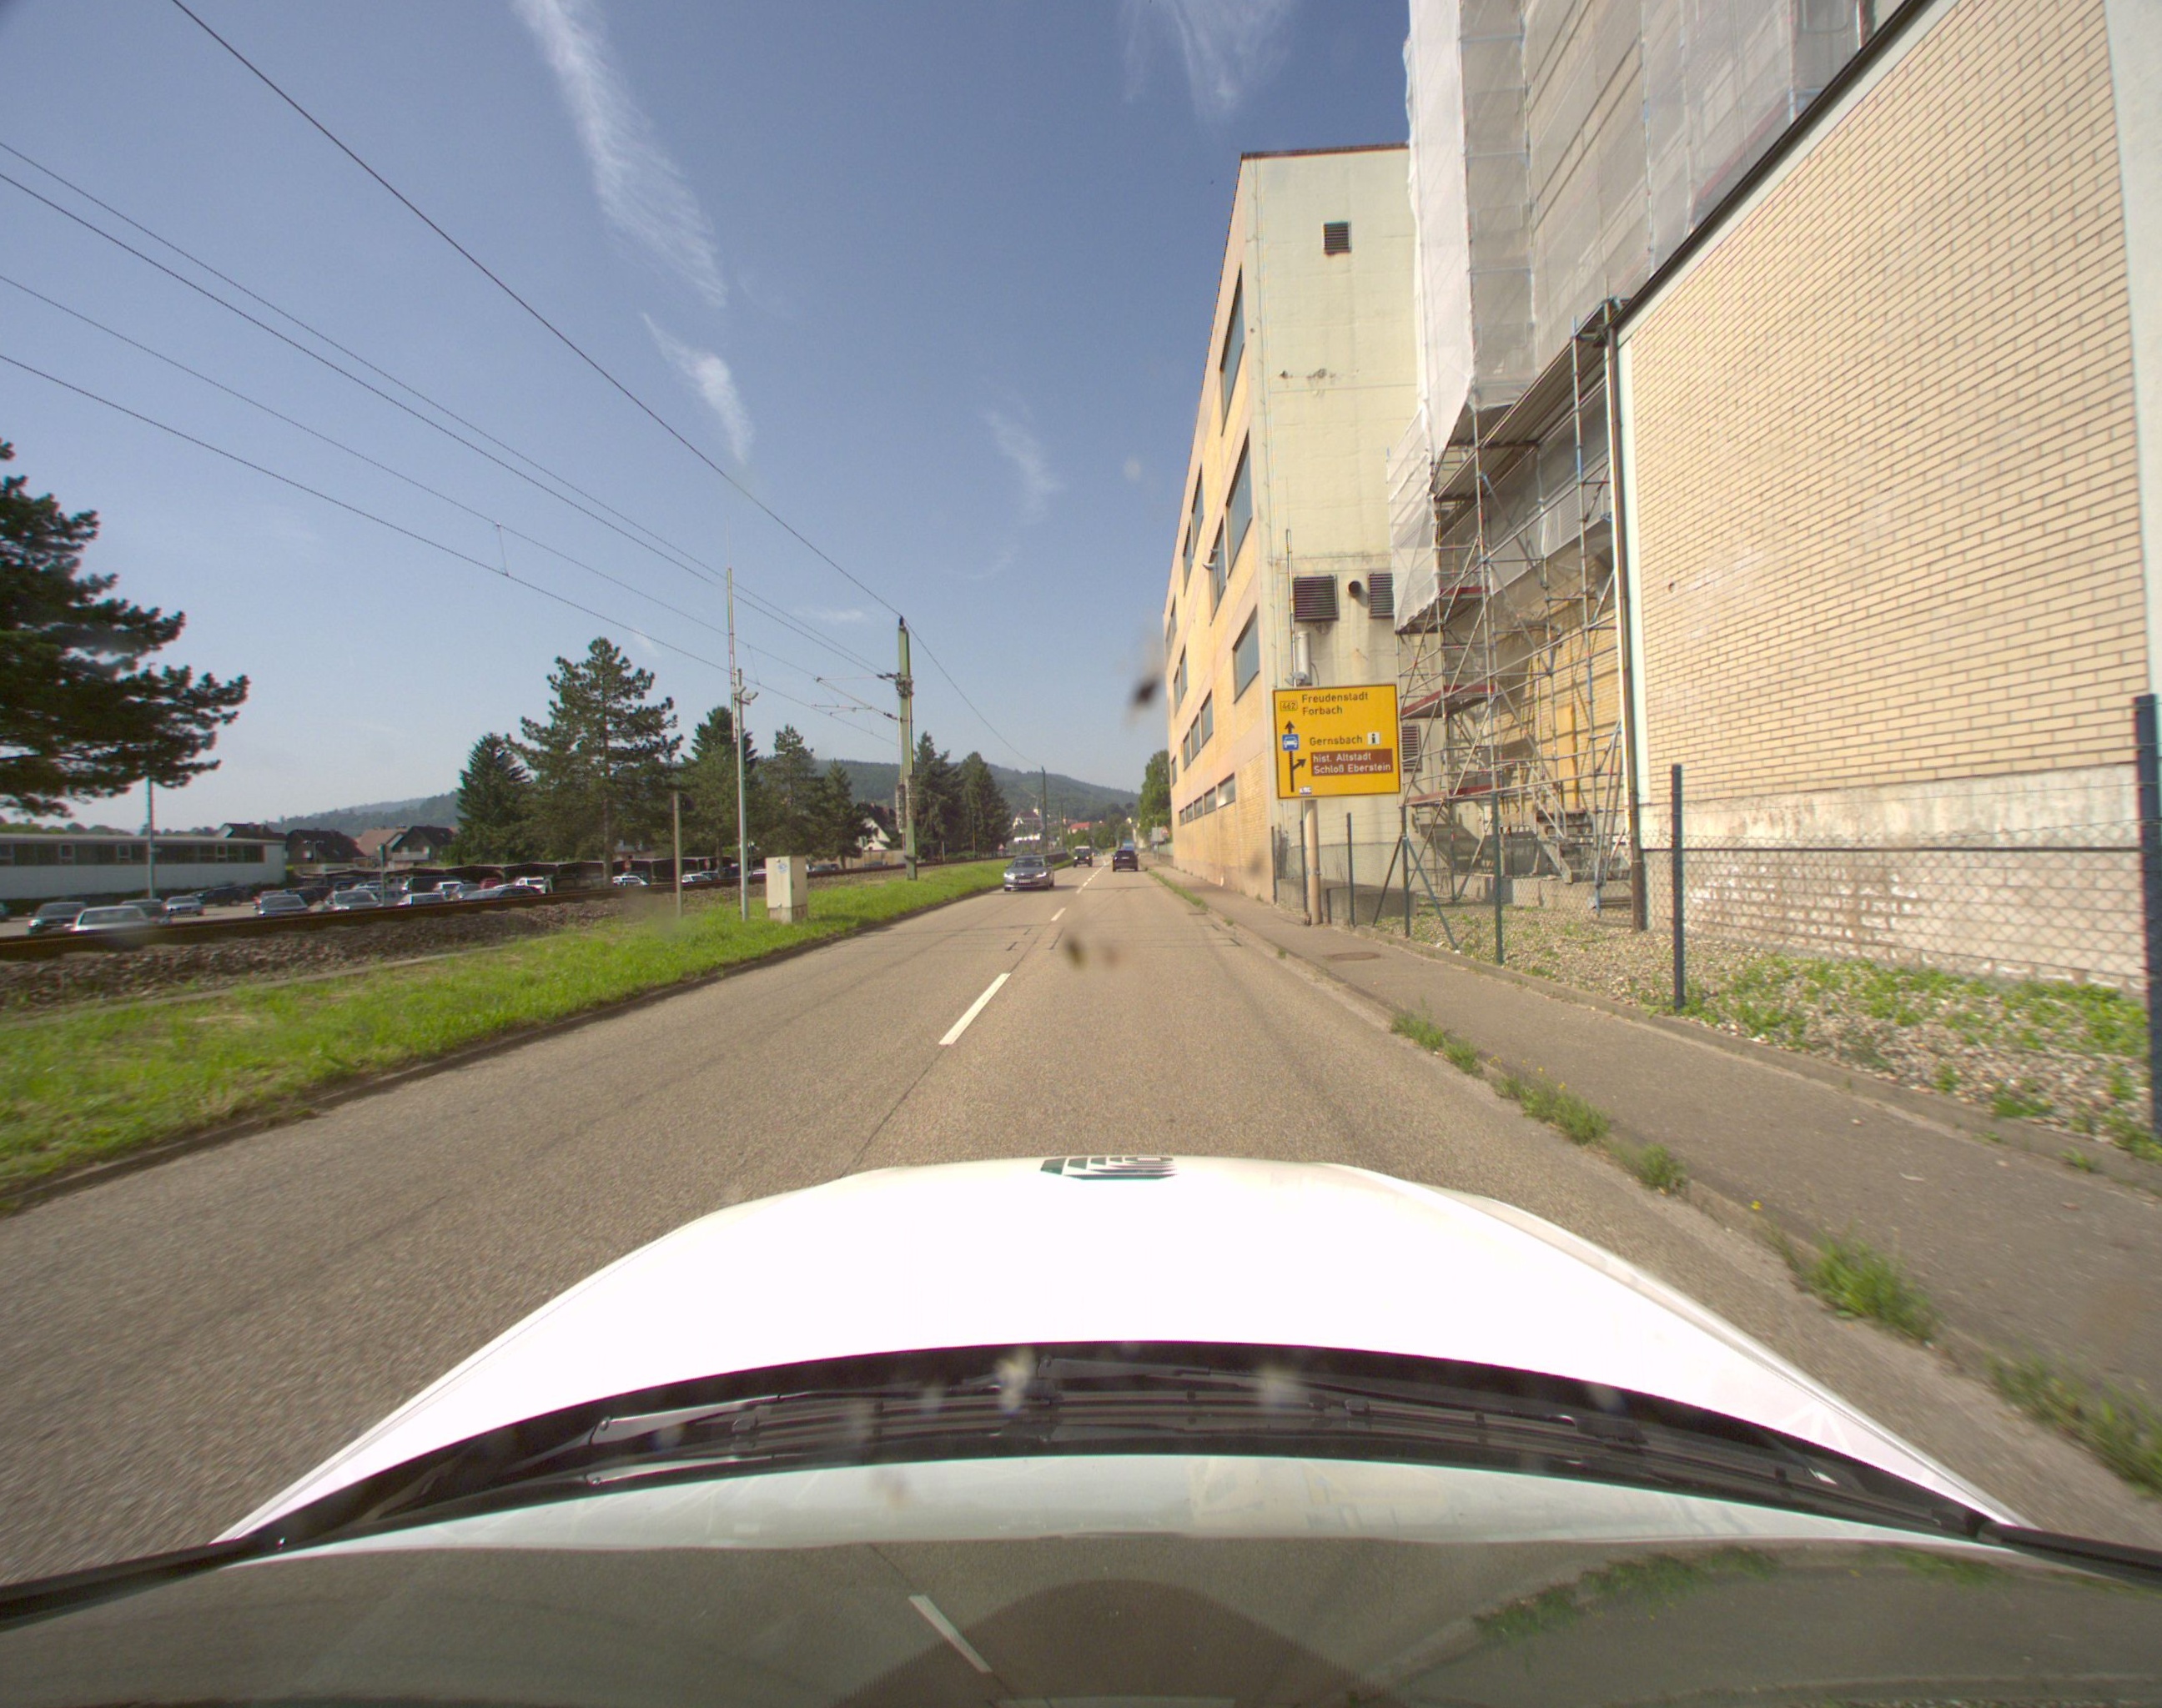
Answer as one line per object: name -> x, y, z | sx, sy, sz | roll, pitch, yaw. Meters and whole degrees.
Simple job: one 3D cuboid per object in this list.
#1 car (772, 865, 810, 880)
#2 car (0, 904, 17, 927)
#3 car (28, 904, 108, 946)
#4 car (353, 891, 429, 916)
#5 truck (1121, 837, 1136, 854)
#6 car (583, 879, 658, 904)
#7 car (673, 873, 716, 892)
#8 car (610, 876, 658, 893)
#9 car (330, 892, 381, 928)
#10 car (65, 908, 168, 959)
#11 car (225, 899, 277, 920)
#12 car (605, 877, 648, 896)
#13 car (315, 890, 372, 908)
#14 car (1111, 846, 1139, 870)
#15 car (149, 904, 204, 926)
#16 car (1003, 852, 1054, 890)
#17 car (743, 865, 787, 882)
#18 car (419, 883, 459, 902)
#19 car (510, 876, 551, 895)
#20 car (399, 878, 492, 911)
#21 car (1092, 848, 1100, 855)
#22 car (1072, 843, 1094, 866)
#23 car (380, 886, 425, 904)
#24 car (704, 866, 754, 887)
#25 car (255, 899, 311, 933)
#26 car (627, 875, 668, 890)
car -> -35.207, 2.190, 98.818 | 3.982, 1.665, 1.814 | -2, 0, -6
car -> -76.736, 4.371, 57.426 | 1.576, 1.523, 3.492 | -3, 0, -45
car -> -47.539, 3.283, 38.299 | 1.697, 1.642, 3.806 | -3, 0, -42
car -> -43.043, 3.058, 50.857 | 1.438, 1.268, 3.363 | -3, 0, 39
truck -> 8.509, -1.492, 147.590 | 2.305, 2.970, 5.966 | -2, 1, 1
car -> -29.905, 2.430, 52.985 | 1.544, 1.325, 3.882 | -3, 0, 41
car -> -30.640, 2.284, 64.543 | 3.491, 1.325, 1.467 | -3, 0, 35
car -> -41.532, 2.826, 75.683 | 1.438, 1.325, 3.559 | -3, 0, 39
car -> -34.996, 2.652, 39.318 | 1.697, 1.506, 3.806 | -3, 0, -42
car -> -33.199, 2.684, 28.136 | 1.697, 1.443, 3.806 | -3, 0, -42
car -> -60.607, 4.048, 59.449 | 3.494, 1.325, 1.465 | -3, 0, 23
car -> -35.247, 2.535, 63.151 | 3.491, 1.325, 1.467 | -3, 0, 35
car -> -64.879, 3.918, 71.682 | 1.438, 1.325, 3.559 | -3, 0, 41
car -> 3.250, 0.256, 59.895 | 1.911, 1.640, 4.004 | -2, 0, 3
car -> -62.864, 4.228, 56.587 | 3.494, 1.325, 1.465 | -3, 0, 23
car -> -2.173, 0.668, 34.796 | 1.761, 1.405, 4.297 | -3, 0, 1
car -> -29.115, 1.763, 75.088 | 1.438, 1.325, 3.559 | -3, 0, 39
car -> -49.864, 2.982, 63.209 | 3.491, 1.325, 1.467 | -3, 0, 35
car -> -42.988, 2.472, 63.595 | 3.491, 1.325, 1.467 | -3, 0, 35
car -> -32.250, 2.032, 41.383 | 3.541, 1.357, 1.500 | -3, 0, -44
car -> 3.496, -0.626, 191.295 | 1.735, 1.507, 4.201 | -2, 0, 1
car -> 0.247, 0.036, 78.870 | 1.750, 2.078, 4.813 | -1, 0, 4
car -> -57.076, 3.412, 68.525 | 3.494, 1.325, 1.465 | -3, 0, 23
car -> -32.665, 2.050, 75.620 | 1.625, 1.688, 3.830 | -2, 0, 38
car -> -38.380, 2.957, 39.251 | 1.697, 1.390, 3.806 | -3, 0, -42
car -> -45.981, 3.018, 86.406 | 3.531, 1.325, 1.450 | -3, 0, -14
